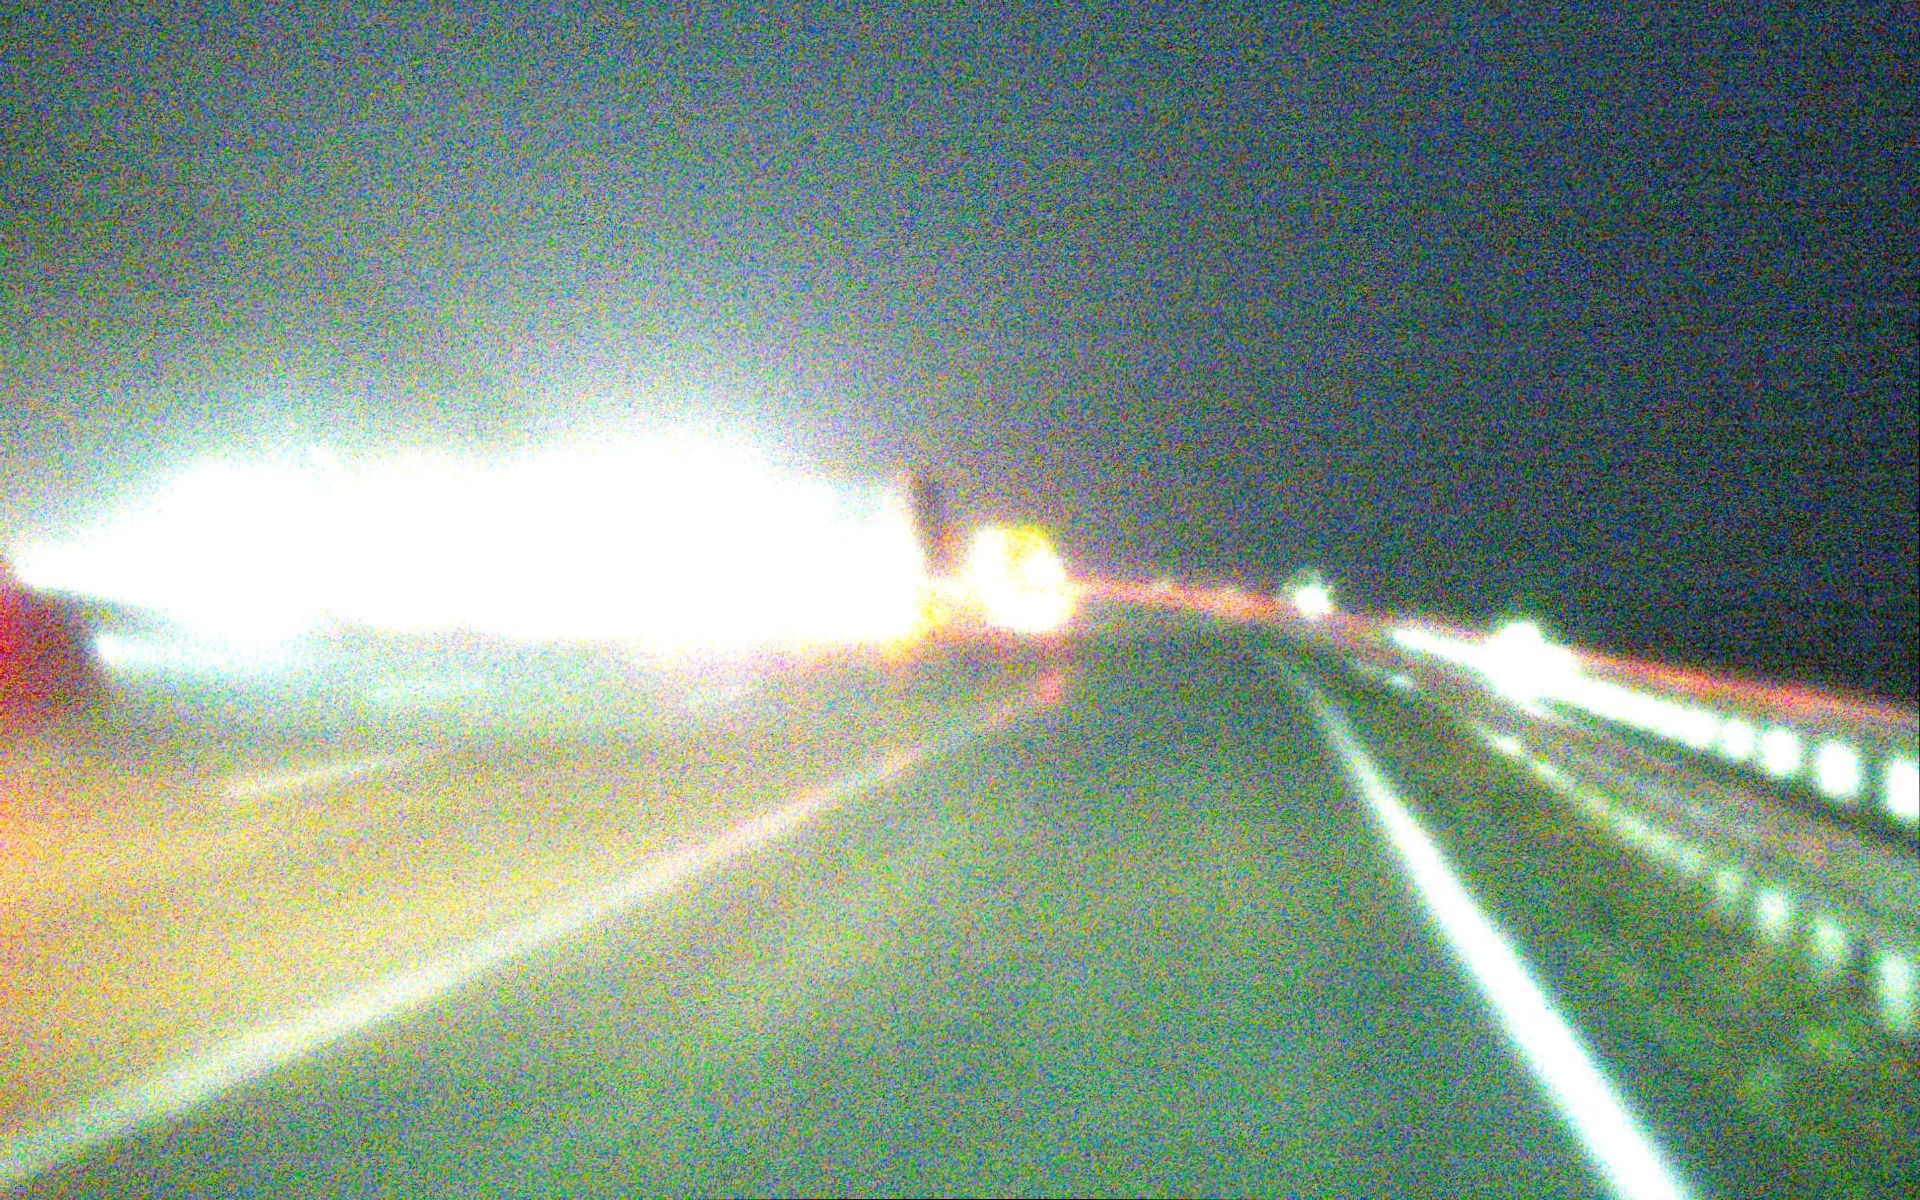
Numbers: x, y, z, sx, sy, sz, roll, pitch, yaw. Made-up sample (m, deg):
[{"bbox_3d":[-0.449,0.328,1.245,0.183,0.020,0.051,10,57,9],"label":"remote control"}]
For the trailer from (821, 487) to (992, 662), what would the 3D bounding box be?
[{"bbox_3d":[-1.140,-0.583,83.820,2.592,3.712,13.650,5,0,5],"label":"trailer"}]

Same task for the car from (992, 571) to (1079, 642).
[{"bbox_3d":[2.132,0.175,96.101,1.994,1.812,3.999,4,1,6],"label":"car"}]

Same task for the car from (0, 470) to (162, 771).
[{"bbox_3d":[-7.298,0.067,23.982,1.994,2.007,4.567,4,1,4],"label":"car"}]

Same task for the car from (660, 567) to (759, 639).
[{"bbox_3d":[-6.202,0.064,85.499,1.993,1.612,4.000,4,1,1],"label":"car"}]

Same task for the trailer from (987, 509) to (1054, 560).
[{"bbox_3d":[3.698,-3.878,205.879,2.688,2.690,12.854,4,1,6],"label":"trailer"}]
